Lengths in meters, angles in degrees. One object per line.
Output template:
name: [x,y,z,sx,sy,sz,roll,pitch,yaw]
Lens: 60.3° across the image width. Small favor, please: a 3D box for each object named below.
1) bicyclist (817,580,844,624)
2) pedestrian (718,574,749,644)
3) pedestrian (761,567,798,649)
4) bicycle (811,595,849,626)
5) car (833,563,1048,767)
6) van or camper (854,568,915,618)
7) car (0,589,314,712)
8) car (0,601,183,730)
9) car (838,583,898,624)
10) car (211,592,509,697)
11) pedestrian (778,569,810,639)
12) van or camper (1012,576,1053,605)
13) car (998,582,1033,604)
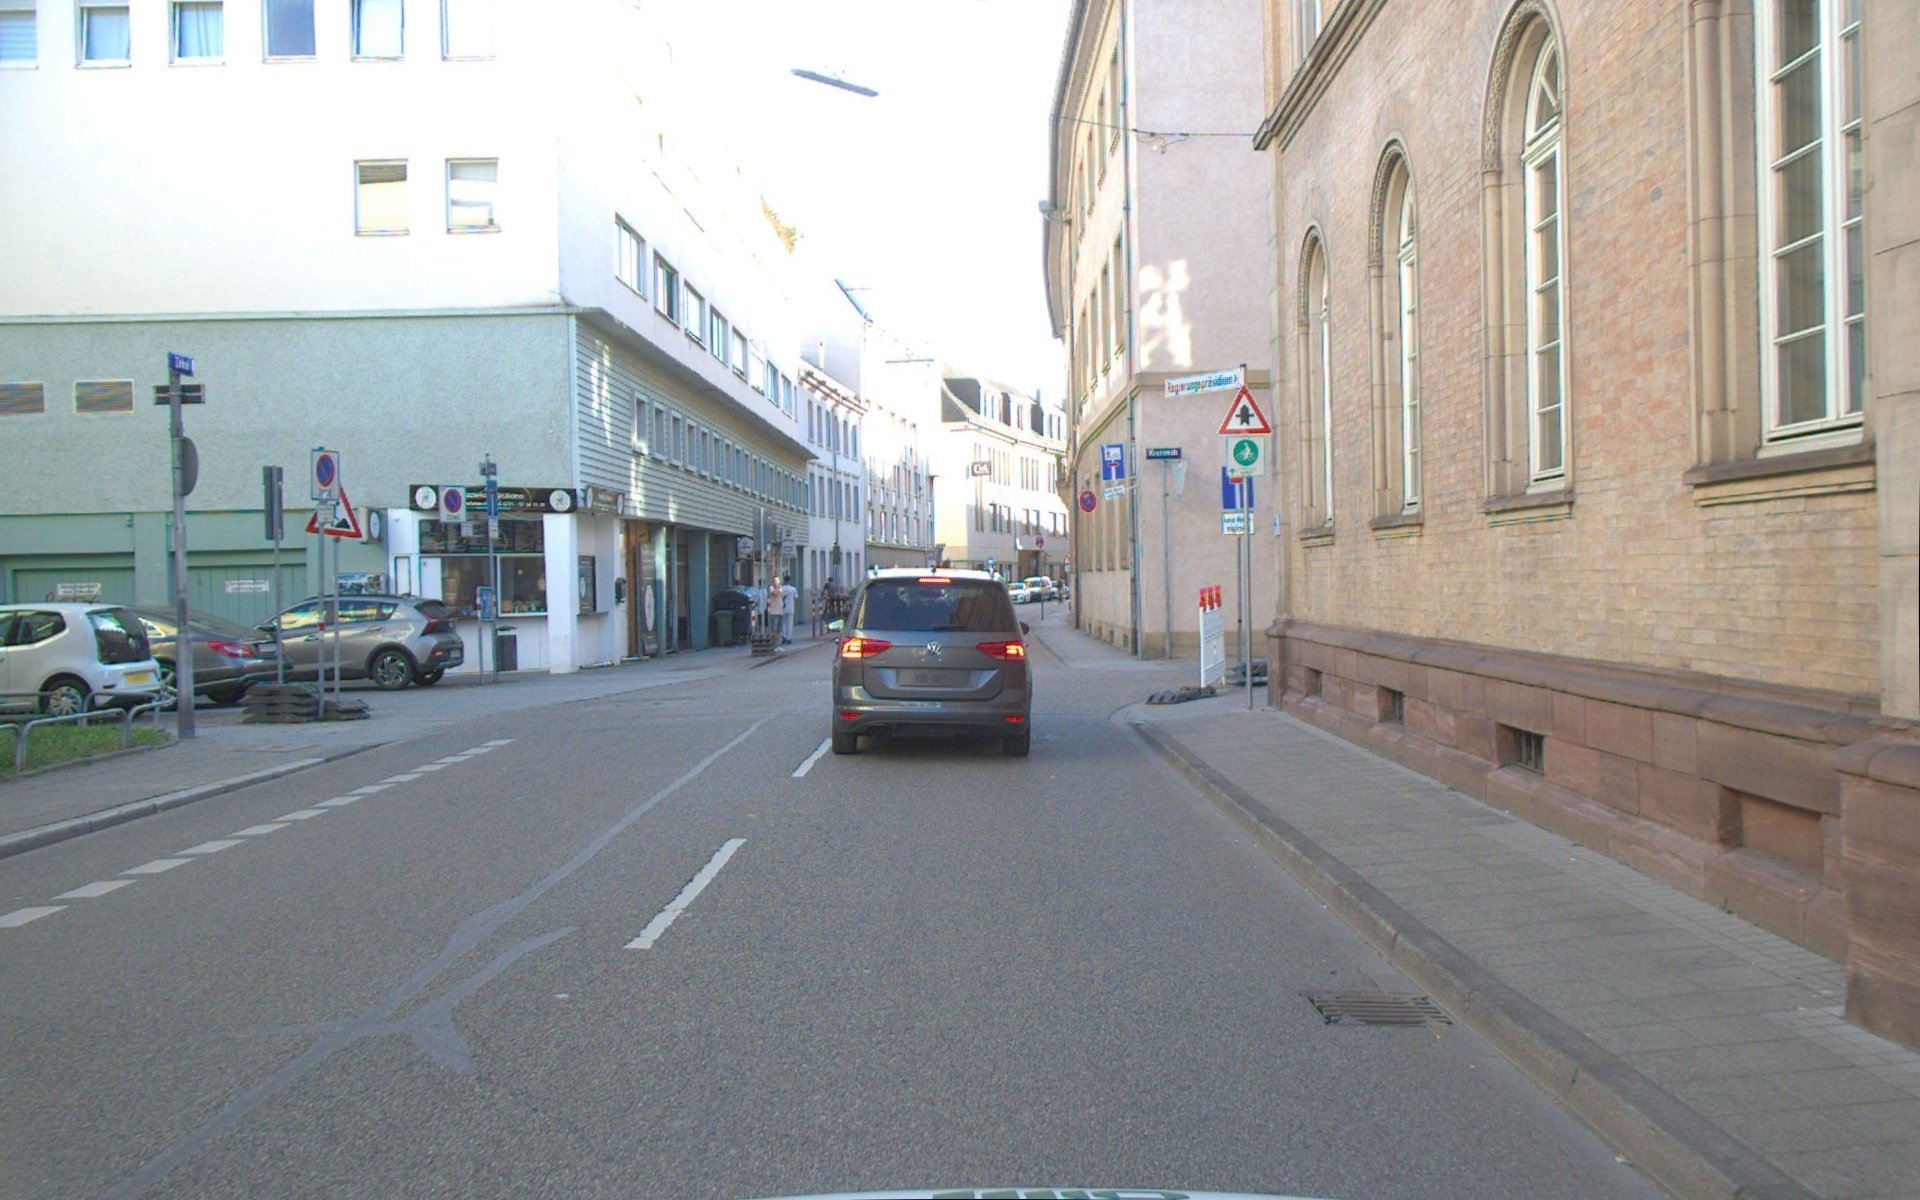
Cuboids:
bicyclist: [-4.679,0.071,59.930,0.818,1.589,0.756,-1,1,-17]
pedestrian: [-6.067,0.240,44.301,0.713,1.861,0.557,-1,0,-1]
pedestrian: [-4.167,0.182,38.172,0.544,1.861,0.730,-1,0,23]
bicycle: [-4.738,0.373,60.147,0.818,1.072,2.537,-1,1,-17]
car: [-0.273,0.520,15.619,1.727,1.635,3.997,2,0,-3]
van or camper: [-3.167,-0.323,70.437,1.951,2.049,4.486,-1,1,5]
car: [-11.768,0.690,23.294,4.517,1.568,2.001,-1,1,2]
car: [-11.876,0.819,20.663,3.428,1.468,1.814,-2,1,1]
car: [-3.554,0.108,64.700,1.826,1.494,3.836,-1,1,4]
car: [-9.550,0.682,26.567,4.013,1.468,1.948,-2,1,1]
pedestrian: [-4.441,0.099,44.205,0.544,1.861,0.730,-1,0,23]
van or camper: [5.408,-0.734,122.719,1.951,2.049,5.002,-1,1,15]
car: [3.963,-0.487,116.968,1.697,1.493,4.004,-1,1,13]
